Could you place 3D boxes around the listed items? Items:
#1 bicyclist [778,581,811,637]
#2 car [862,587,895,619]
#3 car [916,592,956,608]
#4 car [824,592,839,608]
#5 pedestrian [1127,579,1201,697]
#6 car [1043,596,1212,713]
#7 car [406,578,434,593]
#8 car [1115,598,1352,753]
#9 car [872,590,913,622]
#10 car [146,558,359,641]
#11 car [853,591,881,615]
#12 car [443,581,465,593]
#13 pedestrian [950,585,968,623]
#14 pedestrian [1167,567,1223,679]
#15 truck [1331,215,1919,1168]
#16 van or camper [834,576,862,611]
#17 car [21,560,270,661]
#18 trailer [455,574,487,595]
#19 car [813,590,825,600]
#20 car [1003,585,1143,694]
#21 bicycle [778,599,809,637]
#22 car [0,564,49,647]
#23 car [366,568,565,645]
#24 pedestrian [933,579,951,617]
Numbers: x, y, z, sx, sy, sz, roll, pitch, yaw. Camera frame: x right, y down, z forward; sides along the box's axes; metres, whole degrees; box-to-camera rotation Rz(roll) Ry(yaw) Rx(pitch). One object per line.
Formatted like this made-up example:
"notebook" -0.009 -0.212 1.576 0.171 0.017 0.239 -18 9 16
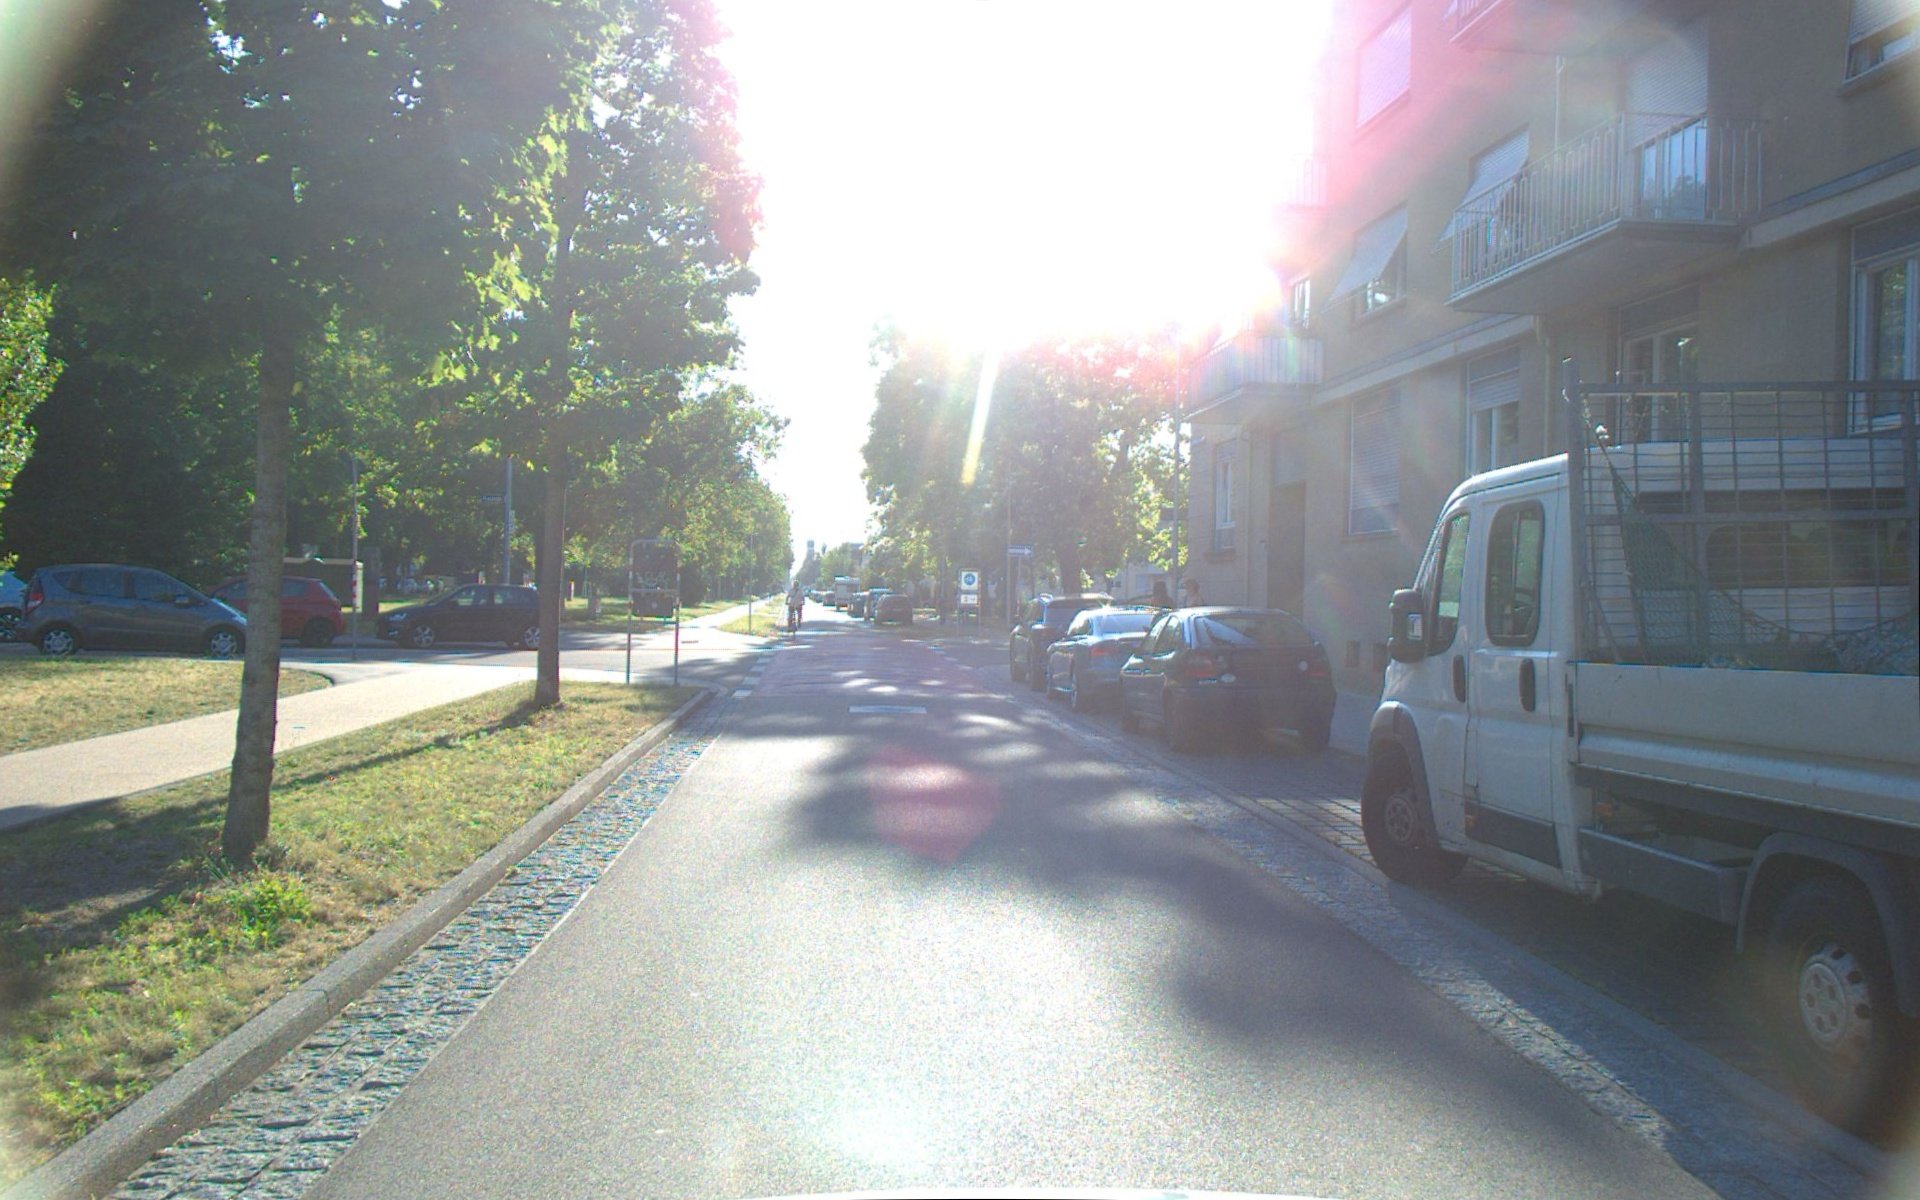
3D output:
"bicyclist" -5.266 0.272 52.700 0.918 1.732 0.905 2 0 0
"car" -4.744 0.198 95.734 1.646 1.770 4.507 1 0 -6
"car" -2.477 -0.031 171.200 4.110 1.557 1.999 1 0 -2
"car" -14.748 -0.005 189.347 1.595 1.698 4.243 1 0 -6
"pedestrian" 3.195 0.592 26.001 0.934 1.800 0.777 2 0 -7
"car" 2.232 0.696 23.142 1.669 1.445 4.345 -1 0 -3
"car" -58.223 -1.517 178.384 1.955 1.534 4.110 1 0 -5
"car" 2.810 0.726 17.844 1.669 1.445 4.033 -1 0 -3
"car" -3.368 0.293 81.835 1.646 1.512 4.803 1 0 -6
"car" -15.043 0.034 35.208 3.946 1.602 1.871 2 -2 -31
"car" -6.278 0.190 111.060 1.698 1.578 4.271 1 0 -5
"car" -59.771 -1.530 195.353 1.720 1.444 3.995 1 0 -5
"pedestrian" -0.056 0.192 78.978 0.711 1.766 0.731 2 0 -6
"pedestrian" 3.994 0.386 28.145 0.725 1.862 0.548 2 0 -42
"truck" 3.541 0.267 6.783 2.086 2.609 6.871 1 0 -4
"van or camper" -10.074 -0.537 148.217 2.191 2.955 5.664 1 -1 -6
"car" -14.276 0.202 29.046 3.794 1.660 1.821 1 0 -30
"trailer" -60.392 -1.919 204.464 2.411 2.532 7.042 1 0 -5
"car" -20.731 -0.775 242.665 1.595 1.434 4.243 1 0 -6
"car" 1.855 0.605 28.425 1.670 1.654 4.343 -1 1 -6
"bicycle" -5.279 0.553 52.682 0.723 1.155 2.104 2 0 0
"car" -20.247 0.073 32.537 3.939 1.602 1.874 2 -2 -27
"car" -11.147 0.183 37.331 3.946 1.602 1.871 2 -2 -31
"pedestrian" -0.843 -0.084 78.892 0.738 1.766 0.731 2 0 -6
